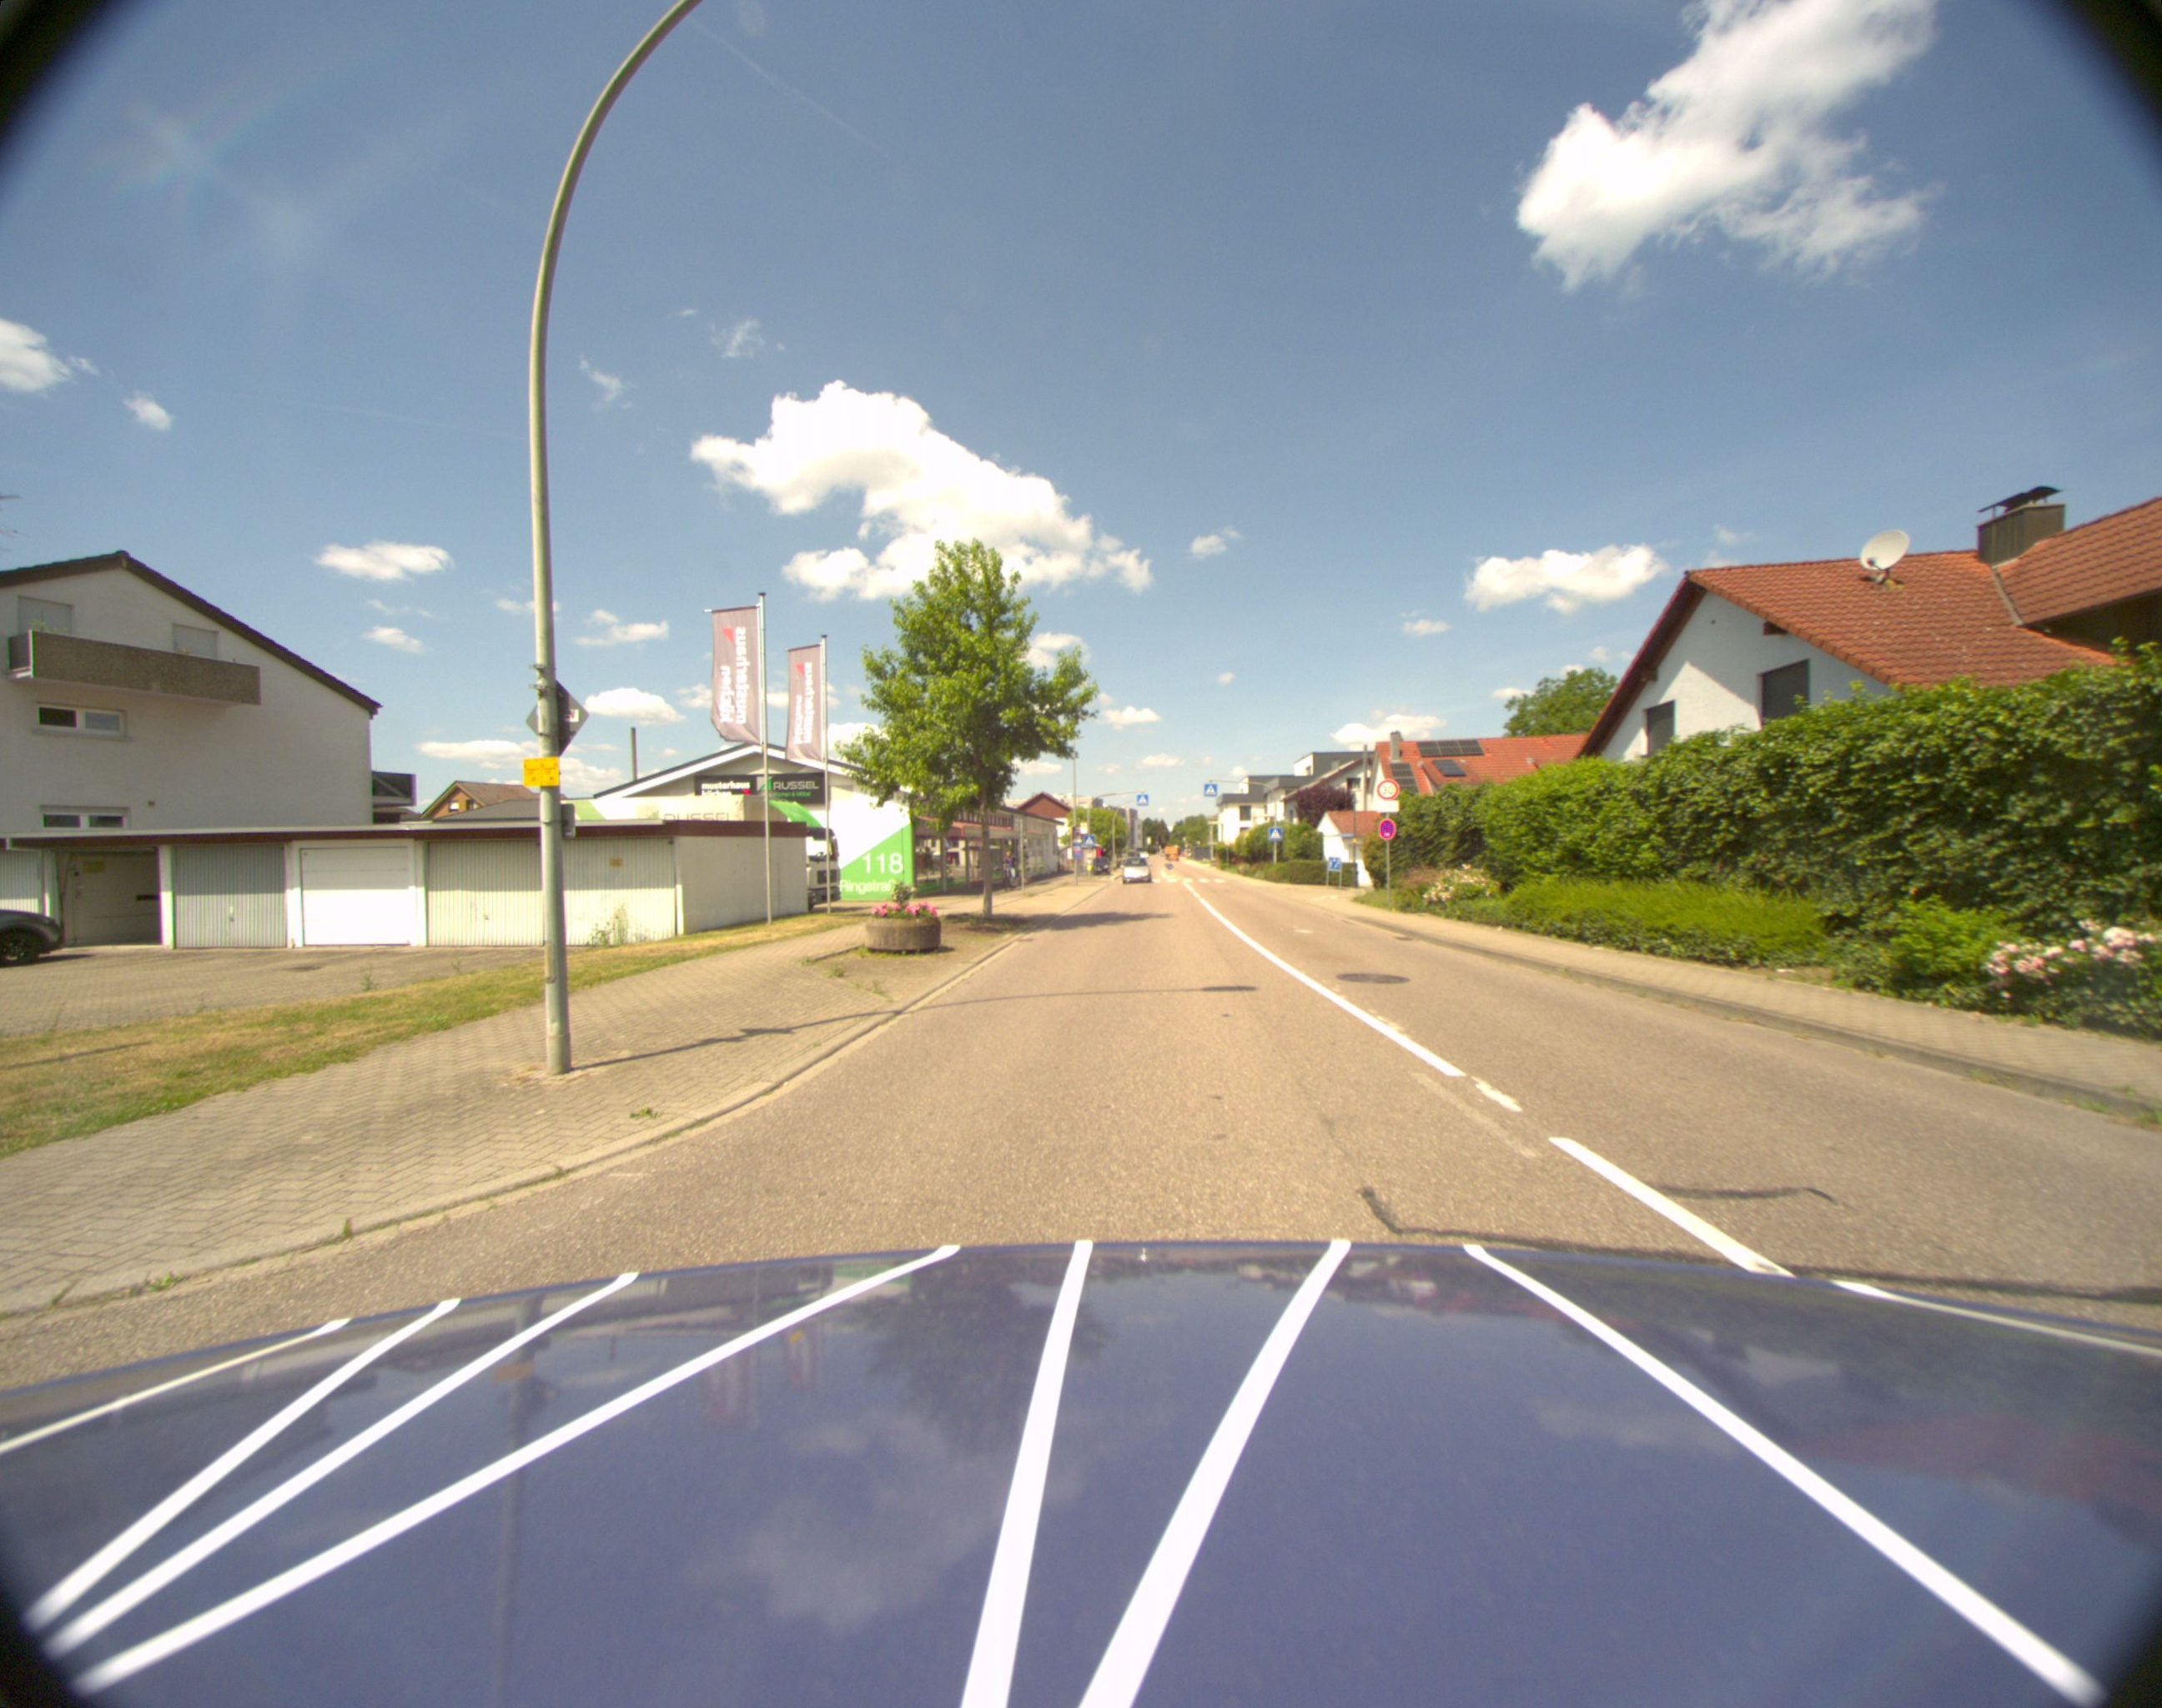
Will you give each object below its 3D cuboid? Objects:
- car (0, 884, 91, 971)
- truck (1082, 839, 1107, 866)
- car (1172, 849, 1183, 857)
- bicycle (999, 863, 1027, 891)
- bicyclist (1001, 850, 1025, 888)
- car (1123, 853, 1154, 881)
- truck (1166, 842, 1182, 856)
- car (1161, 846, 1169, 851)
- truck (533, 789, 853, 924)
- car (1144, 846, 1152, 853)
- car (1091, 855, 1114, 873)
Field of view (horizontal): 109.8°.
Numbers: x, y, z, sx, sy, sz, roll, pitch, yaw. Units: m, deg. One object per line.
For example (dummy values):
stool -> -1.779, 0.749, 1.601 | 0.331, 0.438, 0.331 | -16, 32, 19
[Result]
car -> -20.435, 1.382, 12.863 | 1.678, 1.494, 4.133 | -1, 1, 7
truck -> 1.415, -0.195, 81.038 | 2.579, 2.745, 6.333 | 0, 1, 0
car -> 17.498, -0.149, 137.321 | 1.798, 1.480, 3.614 | 0, 1, 5
bicycle -> -3.047, 1.021, 34.197 | 0.805, 1.158, 1.944 | -3, -1, 6
bicyclist -> -3.047, 0.675, 34.194 | 0.805, 1.620, 1.112 | -3, 0, 6
car -> 3.547, 0.763, 46.557 | 1.722, 1.590, 3.761 | -3, 0, 5
truck -> 19.227, -1.102, 157.308 | 2.863, 2.695, 6.793 | 0, 1, 5
car -> 23.868, -1.570, 216.494 | 1.727, 1.484, 3.764 | 0, 1, 15
truck -> -11.345, 0.079, 22.628 | 8.187, 3.552, 2.678 | -2, 2, 5
car -> 15.517, -1.103, 176.190 | 1.728, 1.484, 3.761 | 0, 1, 6
car -> 1.866, 0.831, 65.986 | 1.728, 1.484, 3.761 | 0, 1, 5
